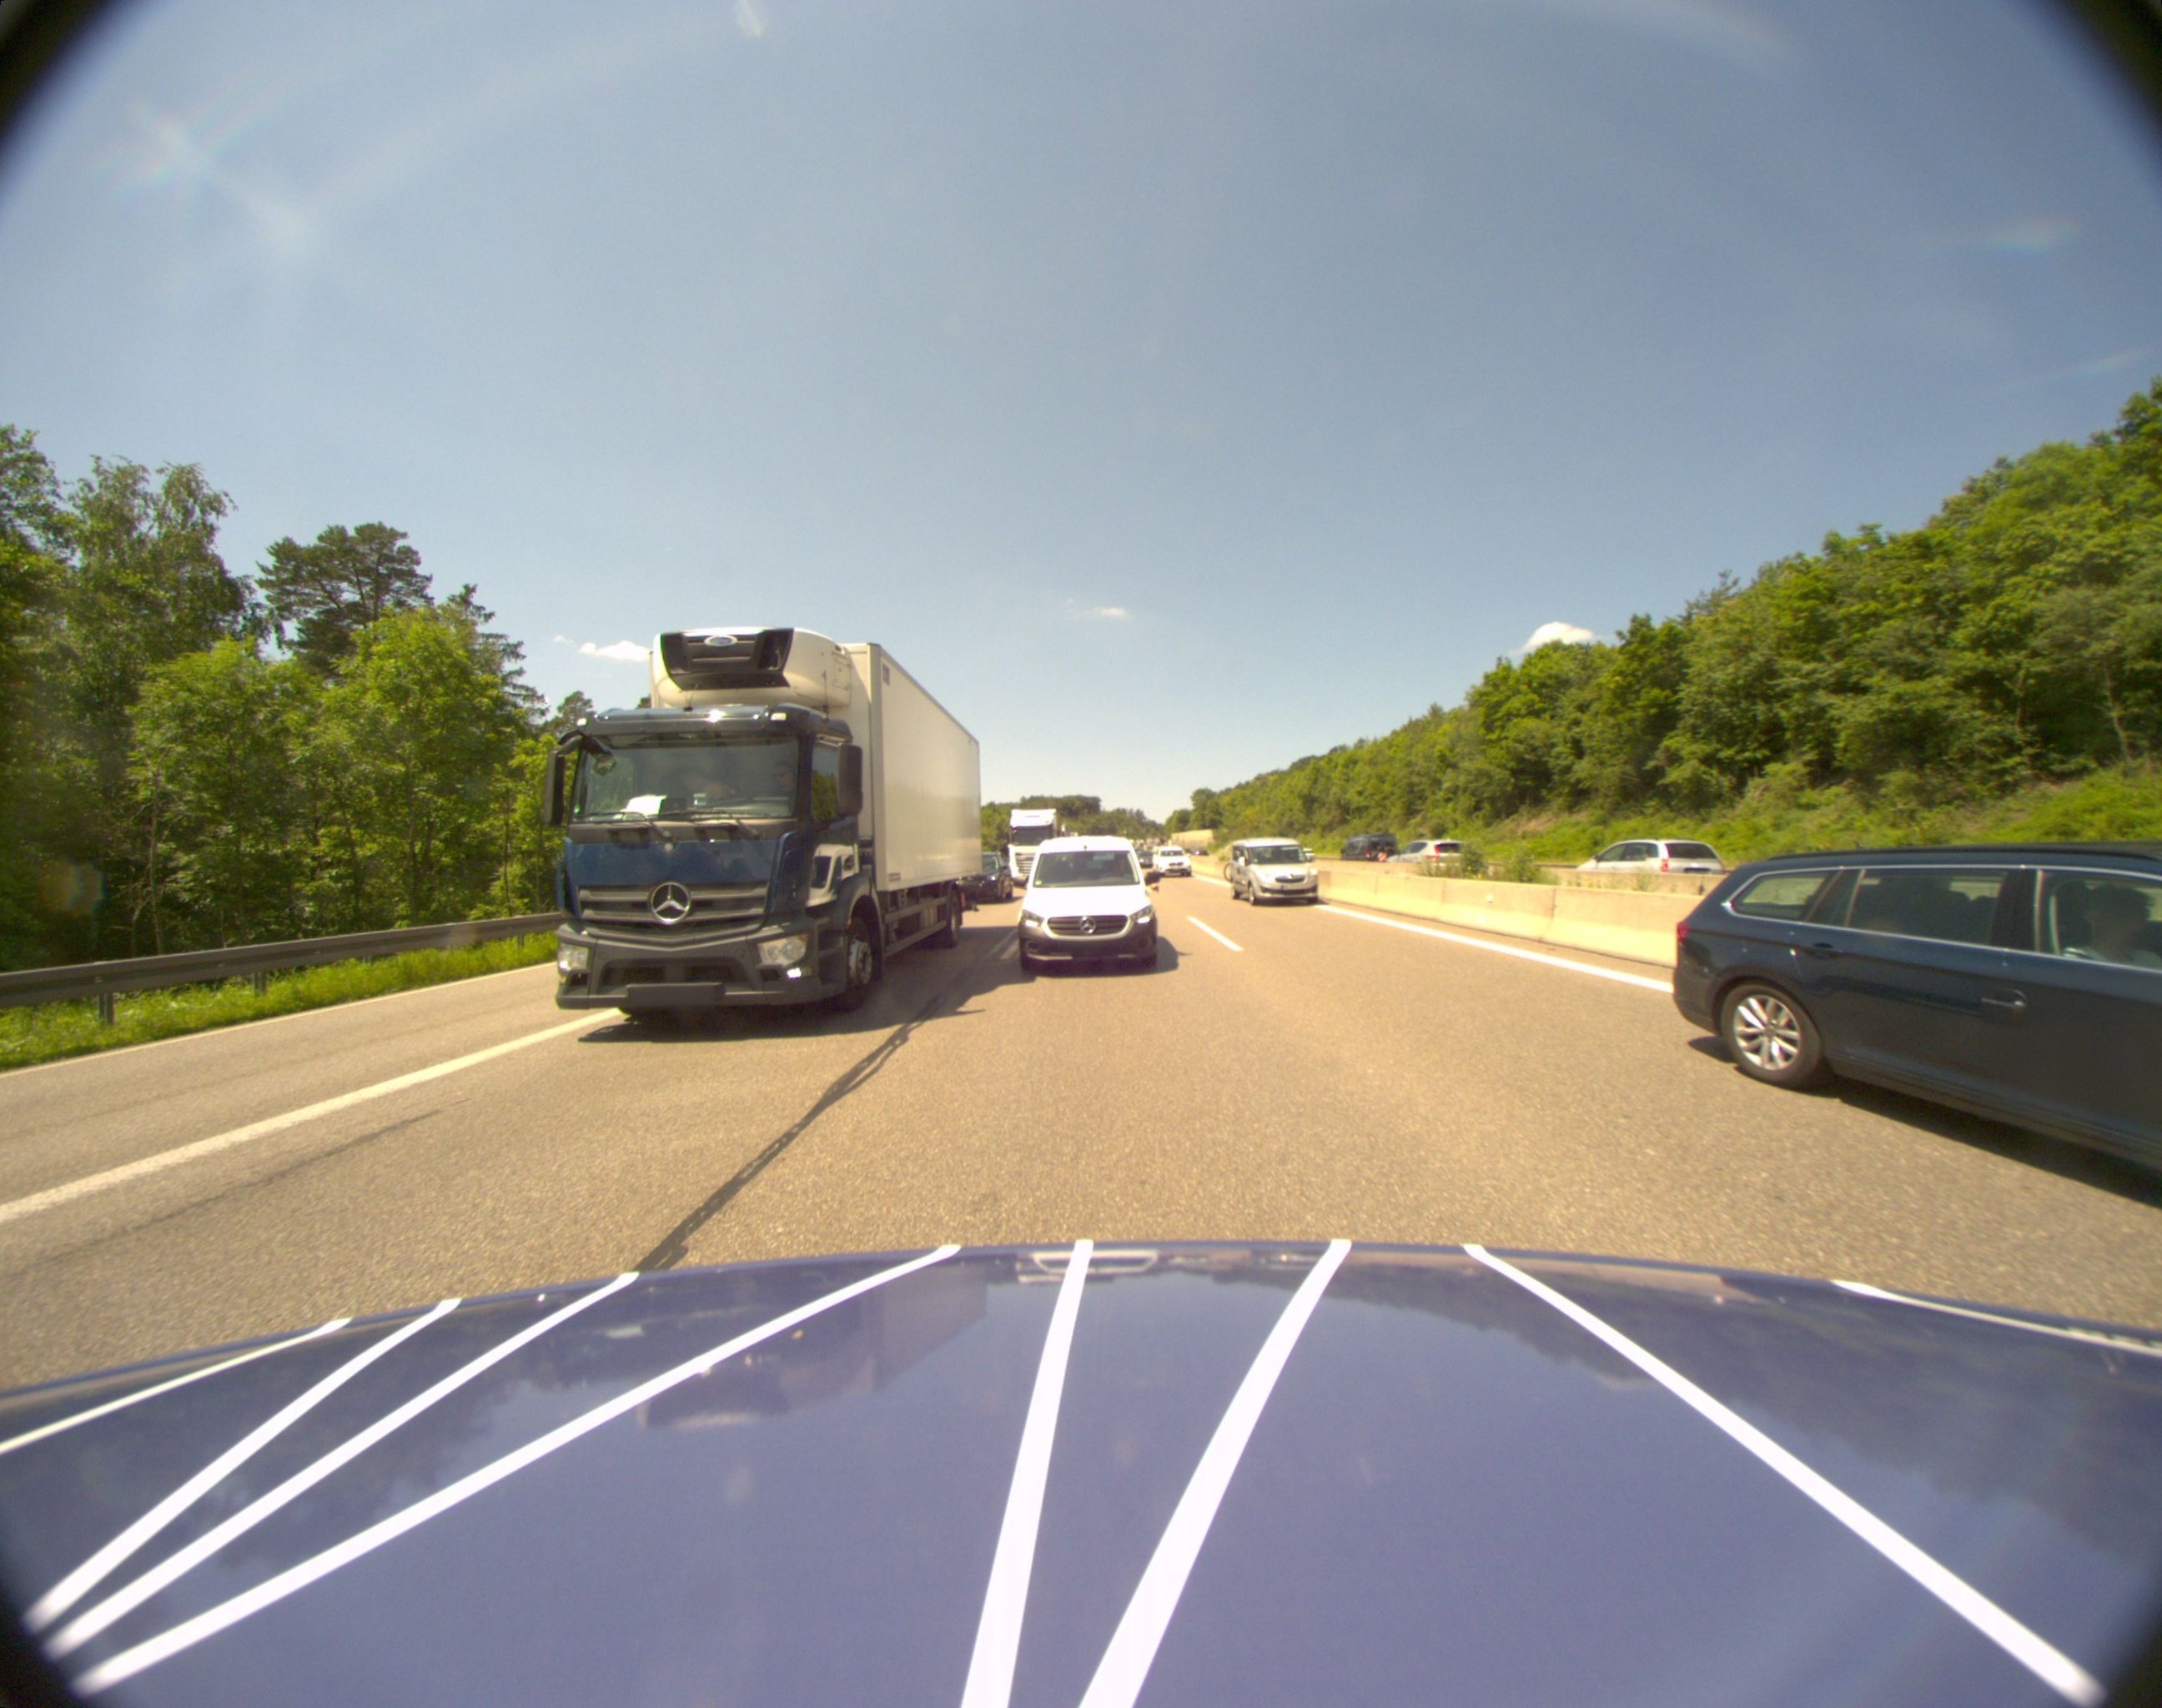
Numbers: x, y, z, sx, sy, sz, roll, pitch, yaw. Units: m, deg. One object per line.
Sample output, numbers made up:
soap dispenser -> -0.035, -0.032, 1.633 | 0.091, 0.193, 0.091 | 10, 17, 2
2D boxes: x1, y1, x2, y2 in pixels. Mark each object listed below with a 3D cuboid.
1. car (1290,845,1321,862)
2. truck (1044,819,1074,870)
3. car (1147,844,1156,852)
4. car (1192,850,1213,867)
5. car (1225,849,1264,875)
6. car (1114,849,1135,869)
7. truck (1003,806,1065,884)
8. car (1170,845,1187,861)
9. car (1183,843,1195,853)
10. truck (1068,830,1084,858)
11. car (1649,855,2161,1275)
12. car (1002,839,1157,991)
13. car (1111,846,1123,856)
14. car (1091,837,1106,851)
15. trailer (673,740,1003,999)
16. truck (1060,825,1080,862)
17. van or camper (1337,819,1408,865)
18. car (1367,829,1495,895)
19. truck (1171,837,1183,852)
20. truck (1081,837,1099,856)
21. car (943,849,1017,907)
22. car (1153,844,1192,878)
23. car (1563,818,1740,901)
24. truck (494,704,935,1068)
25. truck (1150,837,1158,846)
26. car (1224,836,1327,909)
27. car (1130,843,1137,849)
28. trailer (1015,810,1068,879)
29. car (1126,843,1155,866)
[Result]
car -> 24.551, -0.041, 83.321 | 1.998, 1.682, 4.512 | -2, 2, 0
truck -> -2.022, -0.875, 72.651 | 2.394, 4.438, 10.868 | -2, 0, 0
car -> 19.407, -1.613, 209.591 | 1.975, 2.002, 4.000 | -2, 0, 0
car -> 12.977, 0.450, 81.242 | 1.783, 1.563, 3.831 | -2, 2, 3
car -> 12.502, 0.683, 58.388 | 1.998, 1.680, 4.518 | 0, -5, 0
car -> 4.768, 0.575, 84.374 | 1.999, 2.002, 3.998 | -2, 2, -1
truck -> -2.590, -0.586, 44.022 | 2.766, 4.061, 7.332 | -2, 2, 2
car -> 13.802, -0.138, 107.701 | 1.998, 2.002, 4.347 | -2, 2, 3
car -> 23.653, -1.425, 167.073 | 2.128, 2.002, 4.363 | -2, 2, 2
truck -> -0.692, -1.543, 118.350 | 2.187, 4.073, 10.868 | -2, 0, 0
car -> 4.798, 0.758, 2.842 | 1.879, 1.441, 4.678 | -2, 0, 1
car -> 0.044, 0.679, 11.060 | 1.756, 1.681, 4.363 | -2, 2, 2
car -> 6.392, -0.489, 134.754 | 1.803, 1.660, 4.000 | -2, 0, 0
car -> 2.576, -1.458, 111.972 | 1.999, 2.002, 3.998 | -2, 2, -1
trailer -> -3.181, 0.137, 12.636 | 2.562, 2.882, 7.882 | -2, 1, 2
truck -> -1.371, -1.290, 98.525 | 2.187, 4.438, 10.868 | -2, 0, 0
van or camper -> 19.382, -0.859, 50.962 | 2.159, 2.843, 6.651 | -2, 2, 0
car -> 11.998, 0.237, 26.522 | 1.998, 2.002, 5.386 | -2, 0, 1
truck -> 27.812, -2.832, 220.714 | 2.699, 3.967, 7.988 | -2, 2, 1
truck -> 2.240, -1.833, 190.865 | 4.084, 4.403, 11.396 | -2, 0, 0
car -> -3.361, 0.744, 26.029 | 1.999, 1.682, 4.609 | -1, 2, -1
car -> 5.195, 0.362, 43.566 | 1.824, 1.696, 3.999 | -2, 2, 1
car -> 15.550, 0.134, 21.008 | 1.917, 2.002, 3.926 | -2, 0, 0
truck -> -3.367, 0.225, 8.212 | 2.562, 2.924, 4.103 | -1, 2, 2
truck -> 24.469, -4.073, 254.205 | 2.183, 2.868, 6.740 | -2, 2, 1
car -> 5.401, 0.405, 21.739 | 1.857, 1.763, 4.917 | -2, 2, 3
car -> 16.339, -2.525, 236.499 | 1.975, 2.002, 4.000 | -2, 0, 0
trailer -> -2.443, -0.733, 50.999 | 2.766, 4.061, 11.614 | 0, 2, 1
car -> 4.833, 0.033, 62.366 | 1.999, 1.747, 3.998 | -2, 2, 0
